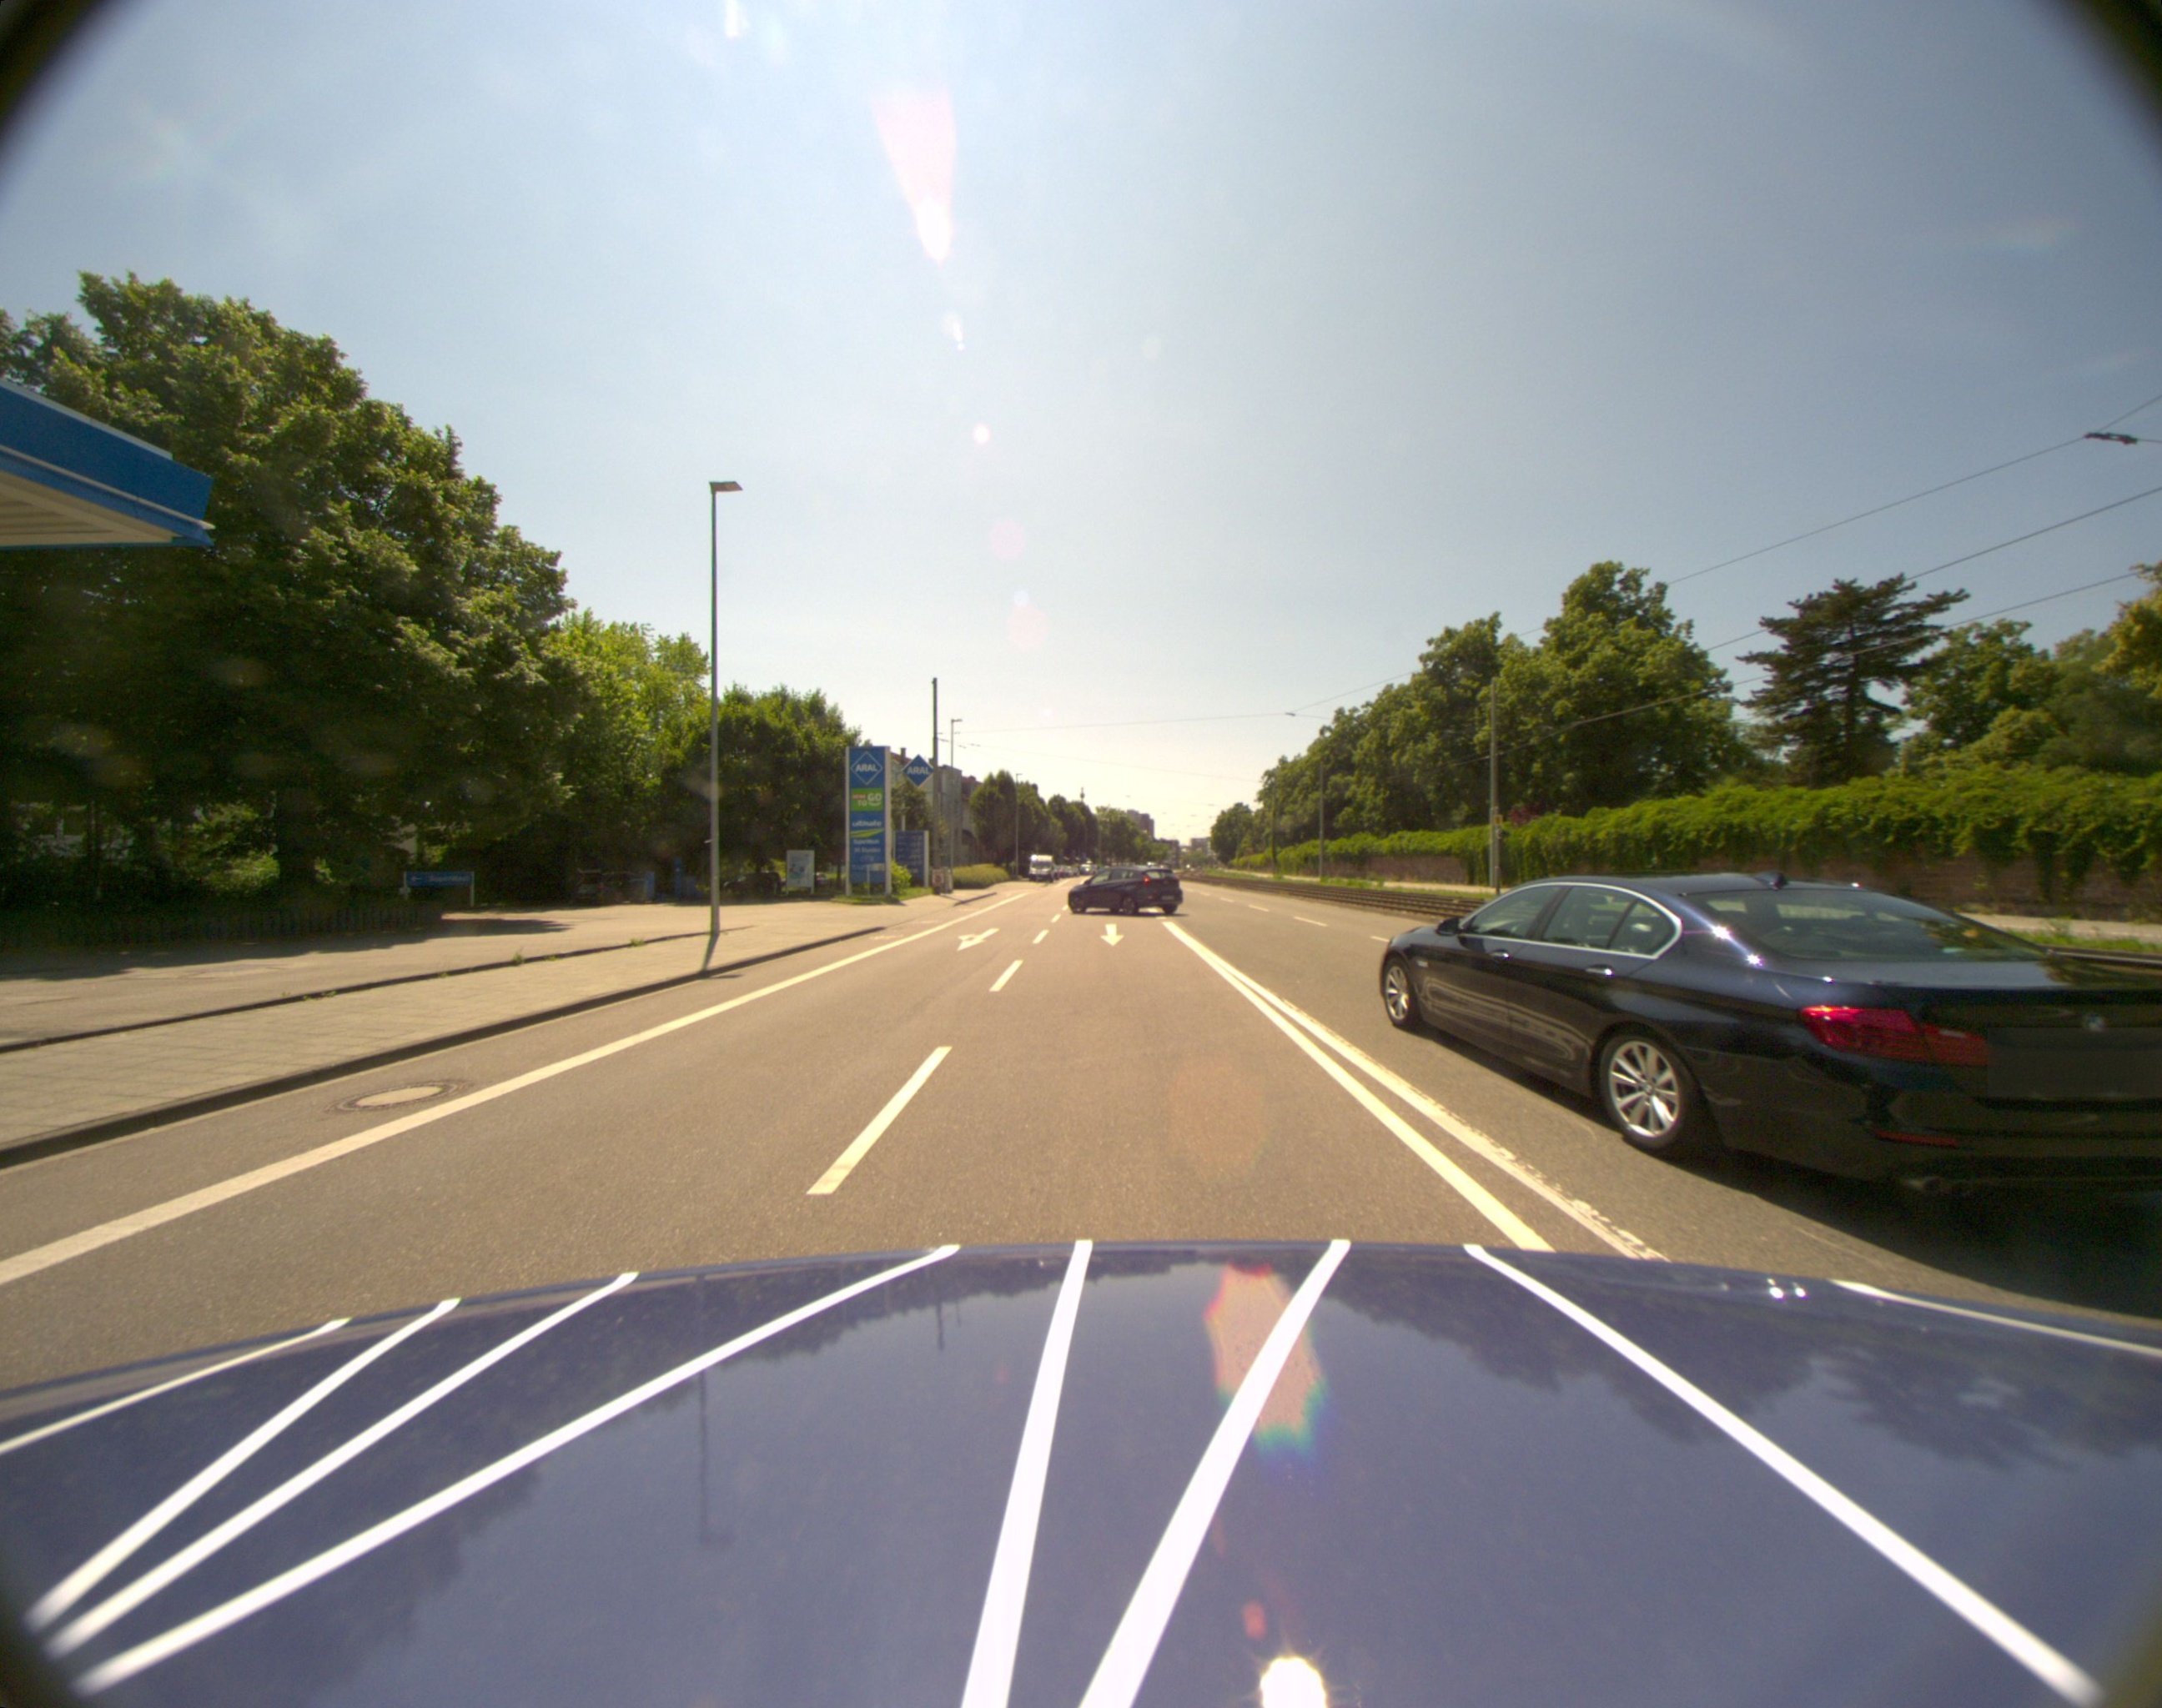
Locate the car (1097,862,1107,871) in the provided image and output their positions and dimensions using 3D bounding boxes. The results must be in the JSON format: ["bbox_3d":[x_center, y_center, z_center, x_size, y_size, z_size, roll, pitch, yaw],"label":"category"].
[{"bbox_3d":[3.839,2.370,139.304,1.806,1.584,4.001,-1,0,2],"label":"car"}]

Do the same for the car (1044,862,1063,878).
[{"bbox_3d":[-2.898,1.650,80.327,1.827,1.624,4.000,1,0,-1],"label":"car"}]

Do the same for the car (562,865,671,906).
[{"bbox_3d":[-21.413,1.410,35.273,1.997,1.653,4.412,-1,1,6],"label":"car"}]

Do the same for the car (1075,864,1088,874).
[{"bbox_3d":[0.132,2.375,119.356,1.725,1.586,4.001,-1,0,4],"label":"car"}]

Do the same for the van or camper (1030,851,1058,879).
[{"bbox_3d":[-3.387,0.996,70.677,2.125,2.469,5.994,2,0,0],"label":"van or camper"}]

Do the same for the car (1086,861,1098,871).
[{"bbox_3d":[1.892,2.082,130.295,1.907,1.706,4.001,-1,0,2],"label":"car"}]

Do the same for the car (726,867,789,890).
[{"bbox_3d":[-24.572,1.830,57.743,3.992,1.677,2.003,-1,0,16],"label":"car"}]

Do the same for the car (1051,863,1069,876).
[{"bbox_3d":[-2.413,1.821,89.821,1.813,1.543,4.001,-1,0,3],"label":"car"}]

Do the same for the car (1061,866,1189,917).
[{"bbox_3d":[1.276,1.091,23.624,1.722,1.413,4.131,-1,0,-37],"label":"car"}]

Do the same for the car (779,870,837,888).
[{"bbox_3d":[-23.416,2.138,65.302,4.220,1.512,2.002,-1,0,9],"label":"car"}]

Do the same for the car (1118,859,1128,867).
[{"bbox_3d":[9.372,1.968,169.807,1.998,1.717,4.001,-1,0,2],"label":"car"}]

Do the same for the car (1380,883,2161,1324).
[{"bbox_3d":[3.700,0.949,4.868,1.798,1.391,4.448,0,0,0],"label":"car"}]

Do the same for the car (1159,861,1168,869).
[{"bbox_3d":[16.572,2.188,151.862,1.695,1.460,4.003,-1,0,8],"label":"car"}]
